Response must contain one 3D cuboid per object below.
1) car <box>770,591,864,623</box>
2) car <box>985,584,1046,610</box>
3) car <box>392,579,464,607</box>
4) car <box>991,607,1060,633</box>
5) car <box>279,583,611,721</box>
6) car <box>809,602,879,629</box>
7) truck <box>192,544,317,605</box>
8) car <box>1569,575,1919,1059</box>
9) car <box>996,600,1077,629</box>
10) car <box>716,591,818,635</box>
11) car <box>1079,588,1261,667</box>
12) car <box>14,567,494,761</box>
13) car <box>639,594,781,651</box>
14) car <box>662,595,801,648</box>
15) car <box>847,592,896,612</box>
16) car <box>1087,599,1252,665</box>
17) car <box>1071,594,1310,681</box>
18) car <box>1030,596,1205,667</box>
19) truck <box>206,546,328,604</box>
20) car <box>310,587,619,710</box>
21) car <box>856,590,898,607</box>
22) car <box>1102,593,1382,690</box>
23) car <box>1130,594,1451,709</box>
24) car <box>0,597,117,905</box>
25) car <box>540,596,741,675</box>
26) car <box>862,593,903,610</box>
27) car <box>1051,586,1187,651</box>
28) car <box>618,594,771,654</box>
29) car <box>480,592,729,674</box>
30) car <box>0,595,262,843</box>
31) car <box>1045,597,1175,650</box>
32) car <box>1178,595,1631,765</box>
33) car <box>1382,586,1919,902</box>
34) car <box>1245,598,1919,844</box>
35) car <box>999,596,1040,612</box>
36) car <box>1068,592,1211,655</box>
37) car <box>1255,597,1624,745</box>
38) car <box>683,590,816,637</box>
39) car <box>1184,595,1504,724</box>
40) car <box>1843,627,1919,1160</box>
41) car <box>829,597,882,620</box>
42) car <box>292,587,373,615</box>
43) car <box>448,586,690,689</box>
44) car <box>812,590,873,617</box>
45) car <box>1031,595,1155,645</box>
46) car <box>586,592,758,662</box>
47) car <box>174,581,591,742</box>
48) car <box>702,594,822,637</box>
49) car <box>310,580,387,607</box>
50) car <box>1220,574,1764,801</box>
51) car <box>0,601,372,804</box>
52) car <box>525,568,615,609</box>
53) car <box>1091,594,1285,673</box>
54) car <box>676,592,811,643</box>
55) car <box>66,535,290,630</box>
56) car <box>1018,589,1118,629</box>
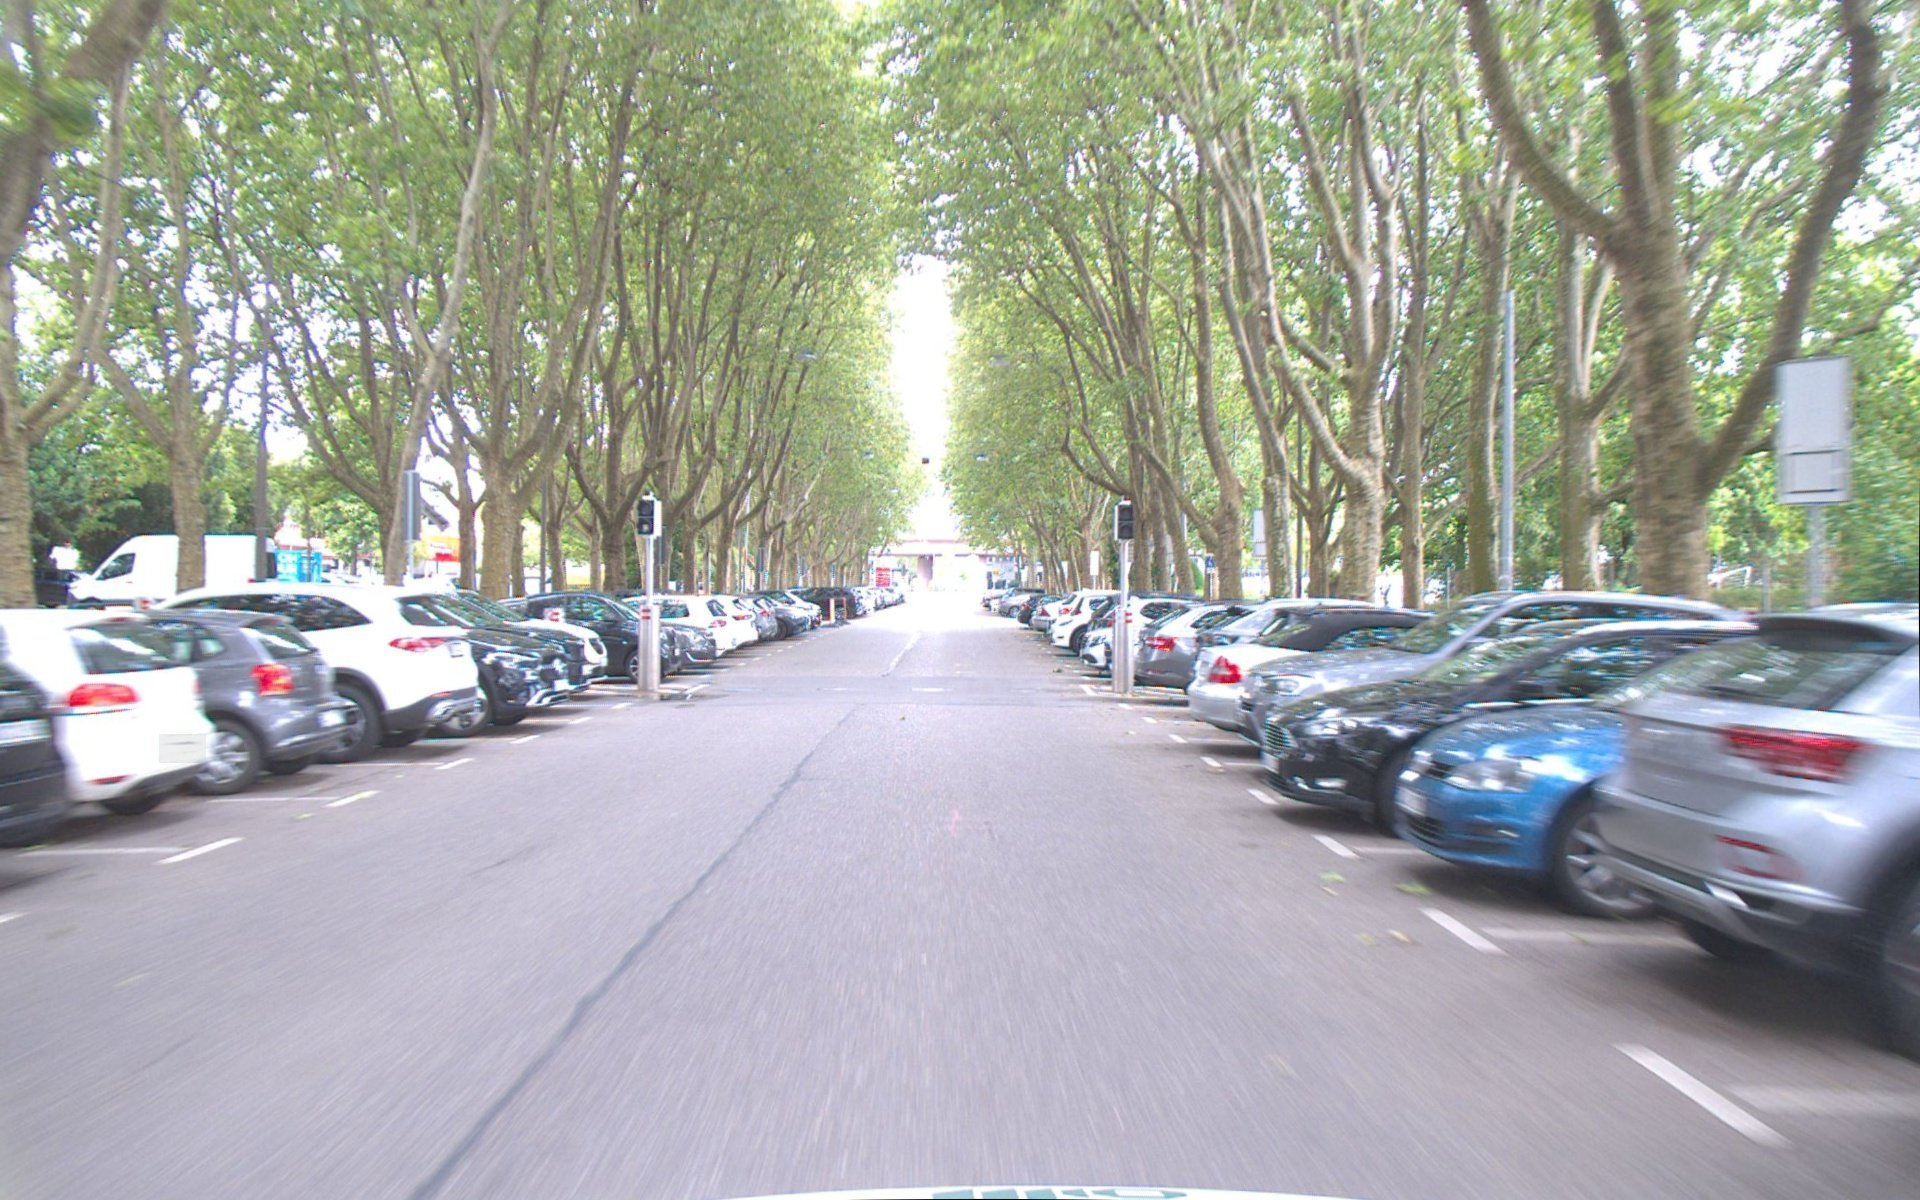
[{"bbox_3d":[-7.160,0.353,83.071,4.570,1.452,1.999,-2,0,-2],"label":"car"},{"bbox_3d":[3.978,-0.224,119.714,4.289,1.782,1.730,1,0,-3],"label":"car"},{"bbox_3d":[-33.174,-0.457,103.194,3.902,1.617,1.695,2,0,8],"label":"car"},{"bbox_3d":[4.017,1.194,100.881,4.087,1.467,1.732,1,0,4],"label":"car"},{"bbox_3d":[-6.594,0.637,21.515,3.751,1.636,1.833,-1,0,-3],"label":"car"},{"bbox_3d":[-6.558,0.883,93.680,3.733,1.377,1.663,-2,0,5],"label":"car"},{"bbox_3d":[-34.358,-1.220,80.655,5.204,2.790,1.928,1,0,-1],"label":"truck"},{"bbox_3d":[4.603,0.774,6.524,3.750,1.635,1.694,1,0,-2],"label":"car"},{"bbox_3d":[4.325,0.803,93.249,4.478,1.512,2.001,1,0,4],"label":"car"},{"bbox_3d":[-7.389,0.478,63.630,3.751,1.582,1.693,-1,0,-3],"label":"car"},{"bbox_3d":[4.621,0.597,36.756,3.701,1.625,1.819,1,0,-4],"label":"car"},{"bbox_3d":[-6.619,0.565,15.883,3.751,1.656,1.952,-1,0,-3],"label":"car"},{"bbox_3d":[-6.977,0.615,46.351,3.751,1.455,1.693,-1,0,-3],"label":"car"},{"bbox_3d":[-6.706,0.624,48.737,3.746,1.455,1.695,-1,0,4],"label":"car"},{"bbox_3d":[-7.182,0.169,134.106,3.733,1.542,1.687,-2,0,5],"label":"car"},{"bbox_3d":[4.831,0.732,38.420,3.573,1.395,1.518,1,0,-4],"label":"car"},{"bbox_3d":[4.308,0.687,31.274,4.212,1.495,1.622,1,0,-4],"label":"car"},{"bbox_3d":[3.901,0.766,41.288,4.084,1.624,1.853,1,0,-4],"label":"car"},{"bbox_3d":[-34.895,-1.246,83.367,5.129,2.790,2.206,1,0,-1],"label":"truck"},{"bbox_3d":[-7.107,0.675,24.013,3.963,1.636,1.693,-1,0,-3],"label":"car"},{"bbox_3d":[-7.641,-0.133,152.795,3.734,1.542,1.686,1,0,3],"label":"car"},{"bbox_3d":[4.793,0.694,28.512,4.520,1.495,1.649,1,0,-1],"label":"car"},{"bbox_3d":[4.694,0.720,23.882,4.278,1.495,1.623,1,0,-1],"label":"car"},{"bbox_3d":[-6.665,0.777,8.397,3.916,1.497,1.536,-1,0,-3],"label":"car"},{"bbox_3d":[-6.404,0.696,33.450,3.751,1.455,1.693,-1,0,-3],"label":"car"},{"bbox_3d":[-7.243,0.104,154.710,3.734,1.542,1.686,1,0,3],"label":"car"},{"bbox_3d":[4.438,0.503,46.501,3.573,1.696,1.518,1,0,-4],"label":"car"},{"bbox_3d":[-6.968,0.618,43.696,3.750,1.455,1.801,-1,0,-2],"label":"car"},{"bbox_3d":[-6.573,0.595,30.923,4.313,1.388,1.693,-1,0,-3],"label":"car"},{"bbox_3d":[-6.942,0.775,11.097,3.680,1.500,1.864,-2,0,-2],"label":"car"},{"bbox_3d":[4.375,0.670,48.425,3.573,1.434,1.518,1,0,-4],"label":"car"},{"bbox_3d":[4.318,0.756,16.484,4.029,1.495,1.694,1,0,-1],"label":"car"},{"bbox_3d":[4.375,0.714,8.877,3.750,1.481,1.694,1,0,-2],"label":"car"},{"bbox_3d":[4.195,0.779,11.412,4.126,1.476,1.610,1,0,-2],"label":"car"},{"bbox_3d":[6.258,0.397,175.074,4.286,1.549,1.731,1,0,0],"label":"car"},{"bbox_3d":[4.772,0.617,44.226,3.573,1.546,1.642,1,0,-4],"label":"car"},{"bbox_3d":[5.338,0.768,18.747,3.698,1.495,1.624,1,0,1],"label":"car"},{"bbox_3d":[-7.102,0.450,56.126,4.313,1.455,1.693,-1,0,-3],"label":"car"},{"bbox_3d":[4.862,0.740,21.293,3.699,1.495,1.667,1,0,-1],"label":"car"},{"bbox_3d":[4.459,0.838,3.993,3.750,1.413,1.694,1,0,-2],"label":"car"},{"bbox_3d":[-7.798,0.618,123.532,3.733,1.542,1.687,-2,0,5],"label":"car"},{"bbox_3d":[-33.175,0.033,87.497,3.679,1.373,1.535,1,0,-2],"label":"car"},{"bbox_3d":[-6.637,0.617,28.372,3.751,1.636,1.693,-1,0,-3],"label":"car"},{"bbox_3d":[-7.828,0.214,110.155,3.733,1.630,1.787,-2,0,5],"label":"car"},{"bbox_3d":[4.118,0.619,51.656,3.573,1.448,1.984,1,0,-4],"label":"car"},{"bbox_3d":[-6.683,0.618,38.708,3.751,1.523,1.693,-1,0,-3],"label":"car"},{"bbox_3d":[-6.356,0.655,18.504,3.983,1.636,1.800,-1,0,2],"label":"car"},{"bbox_3d":[-7.270,0.553,60.894,4.246,1.455,1.693,-1,0,-3],"label":"car"},{"bbox_3d":[-33.881,-0.349,91.728,3.680,1.373,1.535,1,0,-3],"label":"car"},{"bbox_3d":[4.363,0.687,13.982,4.029,1.699,1.694,1,0,0],"label":"car"},{"bbox_3d":[-7.010,0.805,13.580,3.751,1.497,1.693,-1,0,-3],"label":"car"},{"bbox_3d":[-23.266,-0.694,98.734,4.975,2.271,1.535,1,0,-2],"label":"car"},{"bbox_3d":[4.651,0.679,34.046,3.701,1.495,1.622,1,0,-4],"label":"car"},{"bbox_3d":[-6.623,0.524,50.899,3.941,1.455,1.693,-1,0,-3],"label":"car"},{"bbox_3d":[-23.339,-0.527,49.515,5.667,2.642,2.000,1,0,0],"label":"car"},{"bbox_3d":[4.320,0.351,66.385,3.839,1.477,1.555,1,0,-2],"label":"car"}]
